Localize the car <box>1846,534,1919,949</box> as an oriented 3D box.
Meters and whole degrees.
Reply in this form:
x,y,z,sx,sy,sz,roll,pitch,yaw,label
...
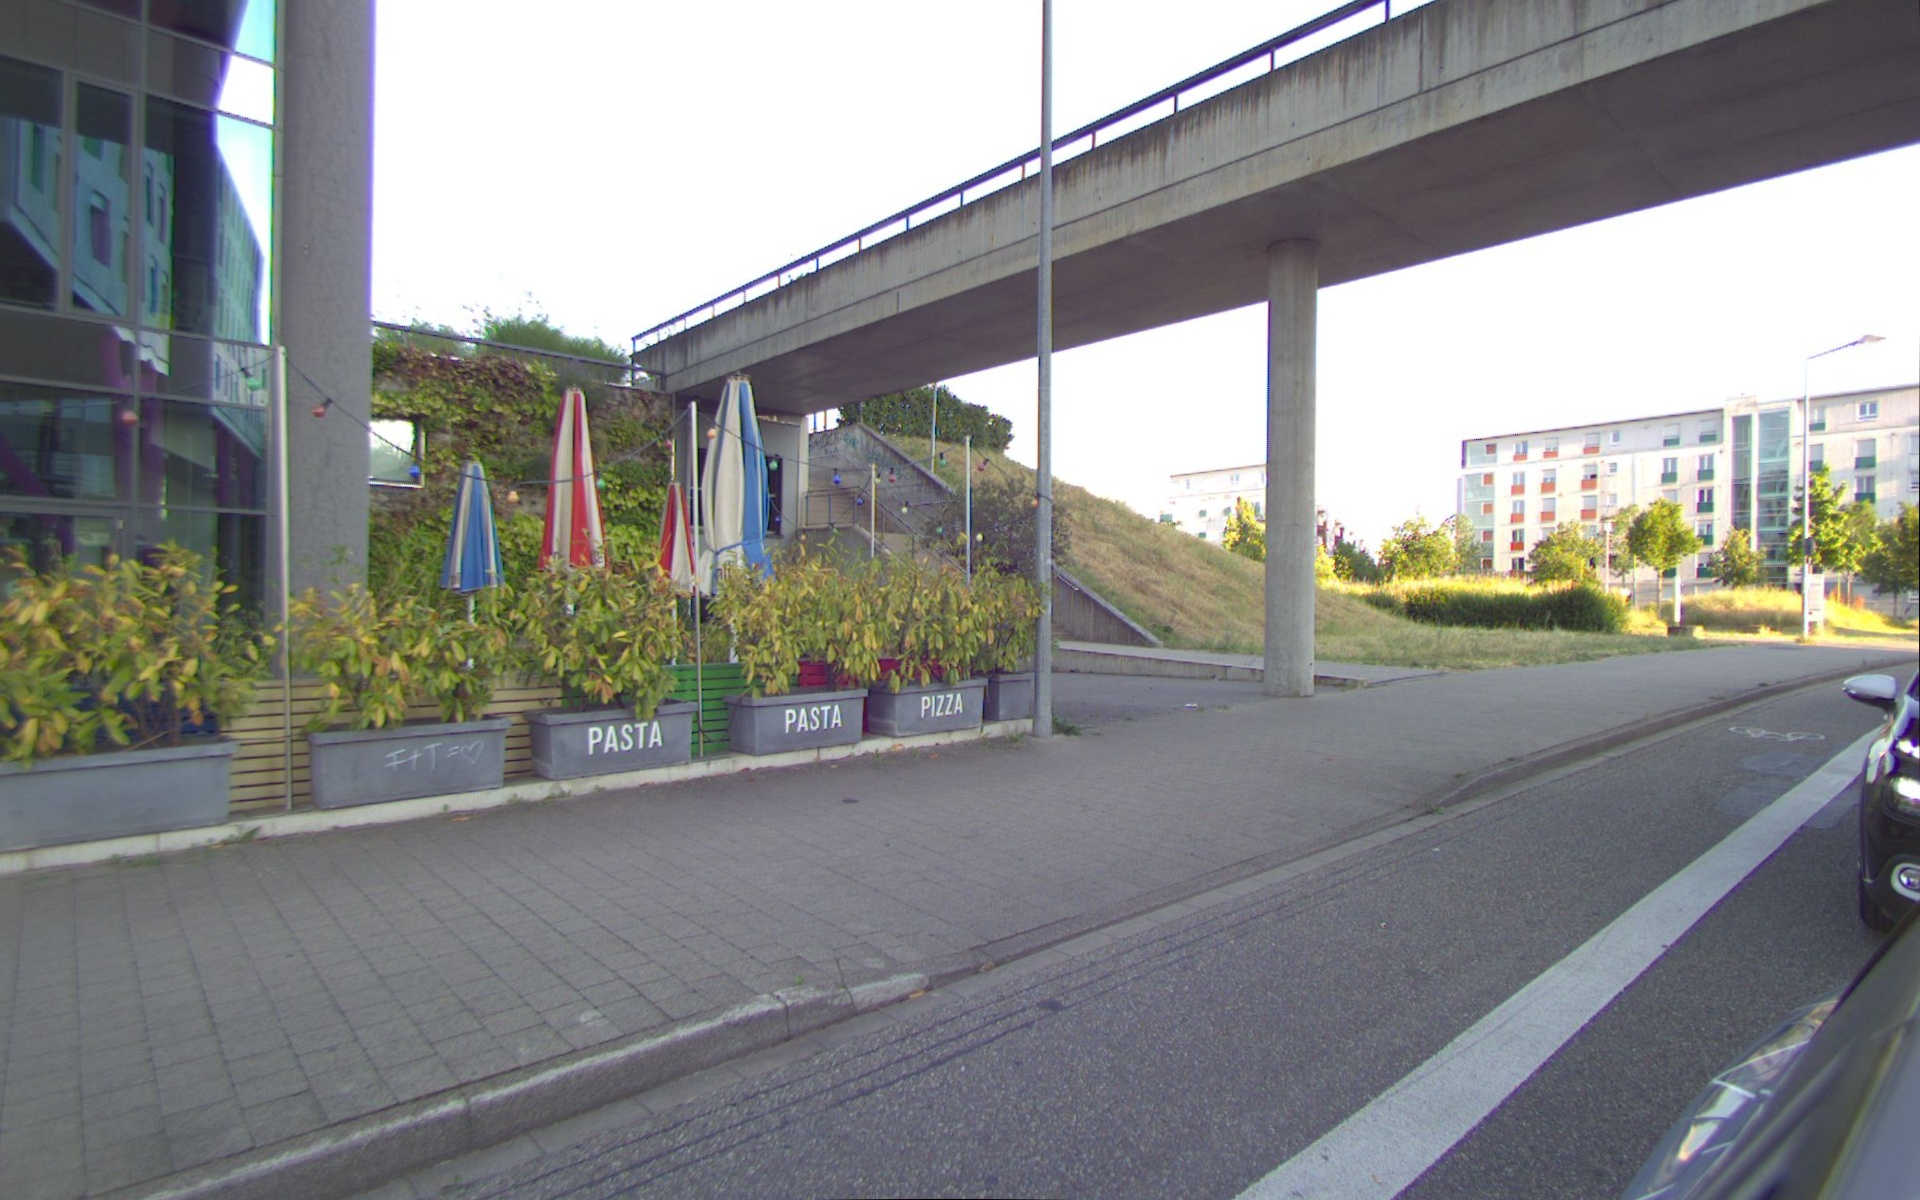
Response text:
x,y,z,sx,sy,sz,roll,pitch,yaw,label
5.546,0.549,4.721,4.003,1.572,1.757,0,0,-43,car
